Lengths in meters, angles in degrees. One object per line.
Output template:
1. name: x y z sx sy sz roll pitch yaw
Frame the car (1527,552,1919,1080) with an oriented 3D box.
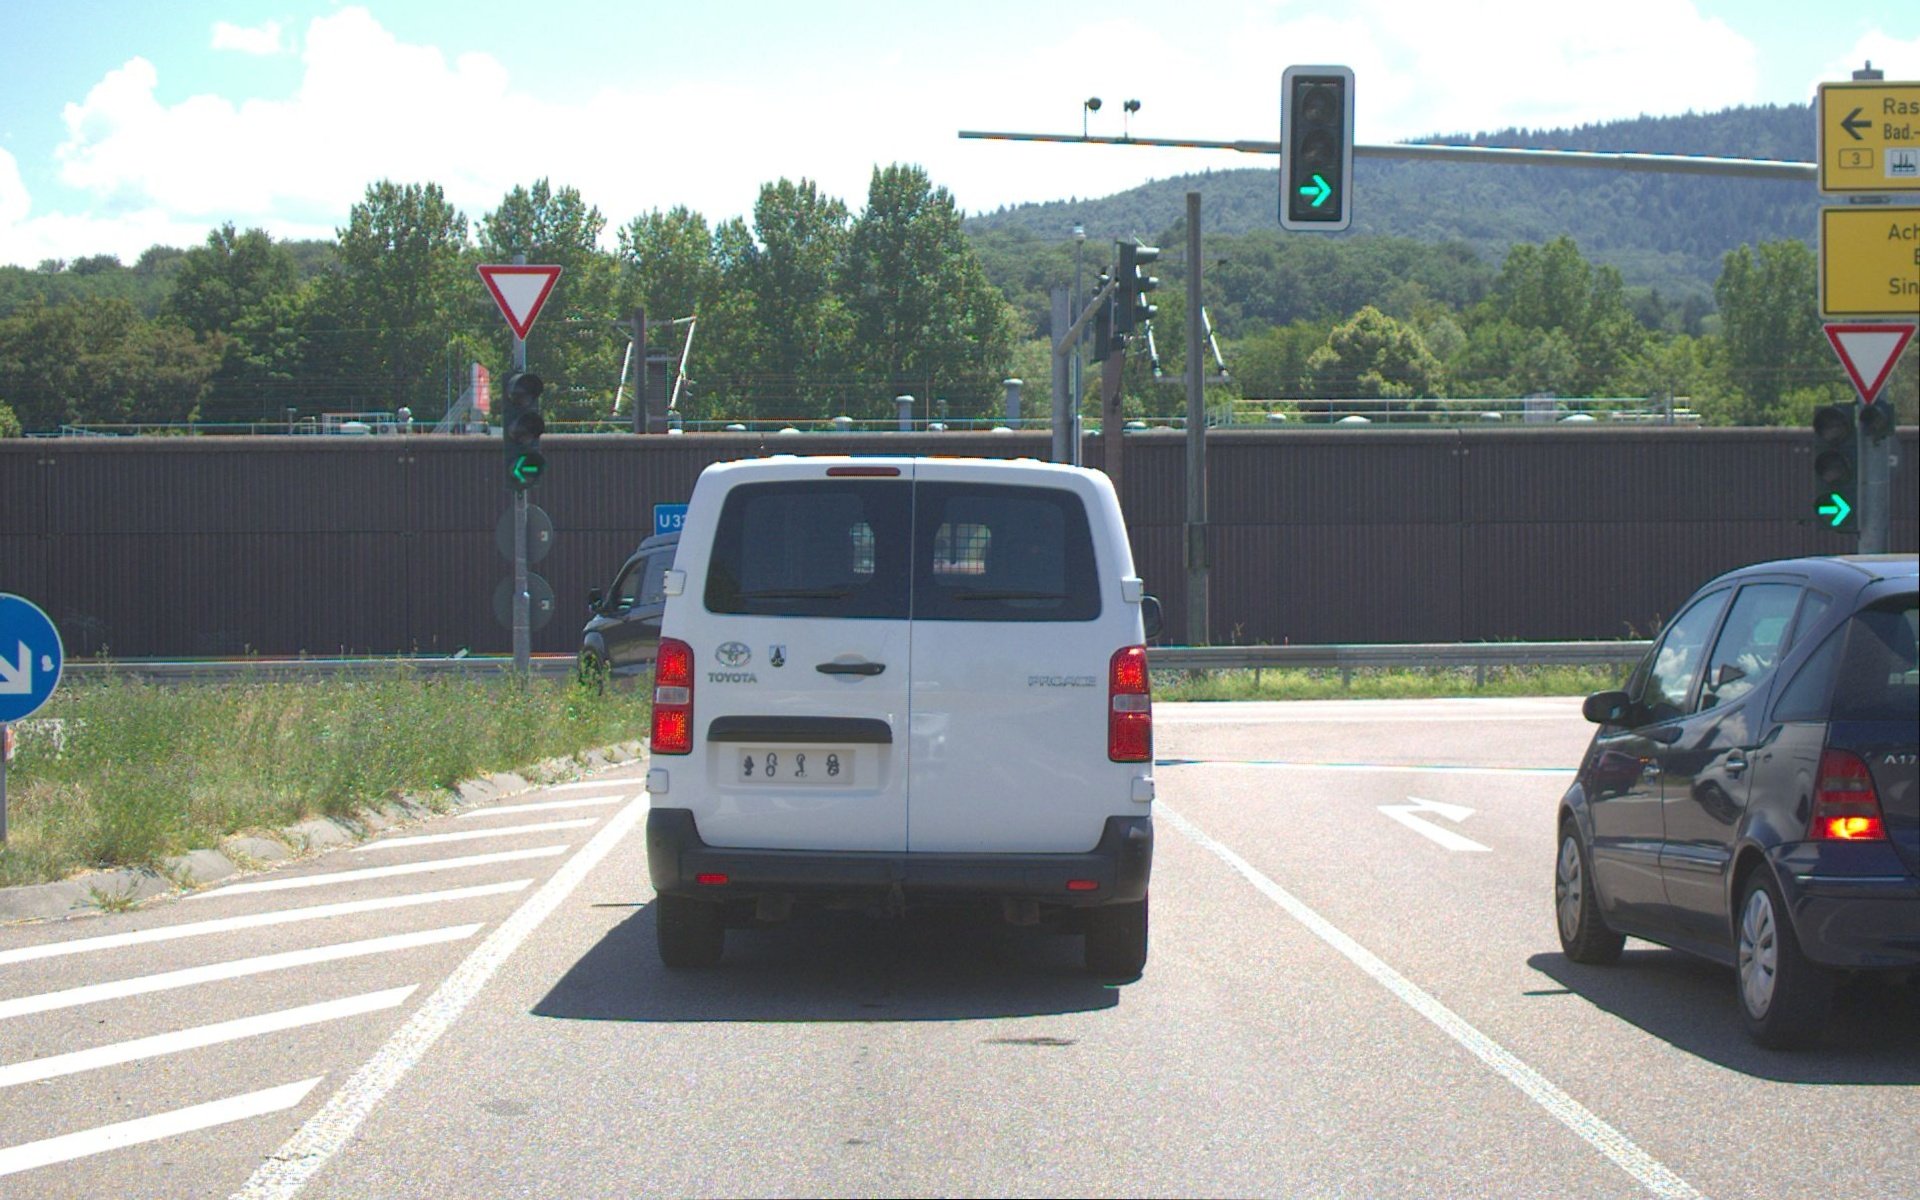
1. car: 3.253 0.648 12.223 1.668 1.595 3.554 1 0 -4

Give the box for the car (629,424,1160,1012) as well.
1. car: -0.258 0.392 13.797 1.814 2.011 4.000 0 0 -1

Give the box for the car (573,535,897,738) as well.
1. car: -2.467 0.350 36.440 1.993 2.007 4.714 0 0 -23
